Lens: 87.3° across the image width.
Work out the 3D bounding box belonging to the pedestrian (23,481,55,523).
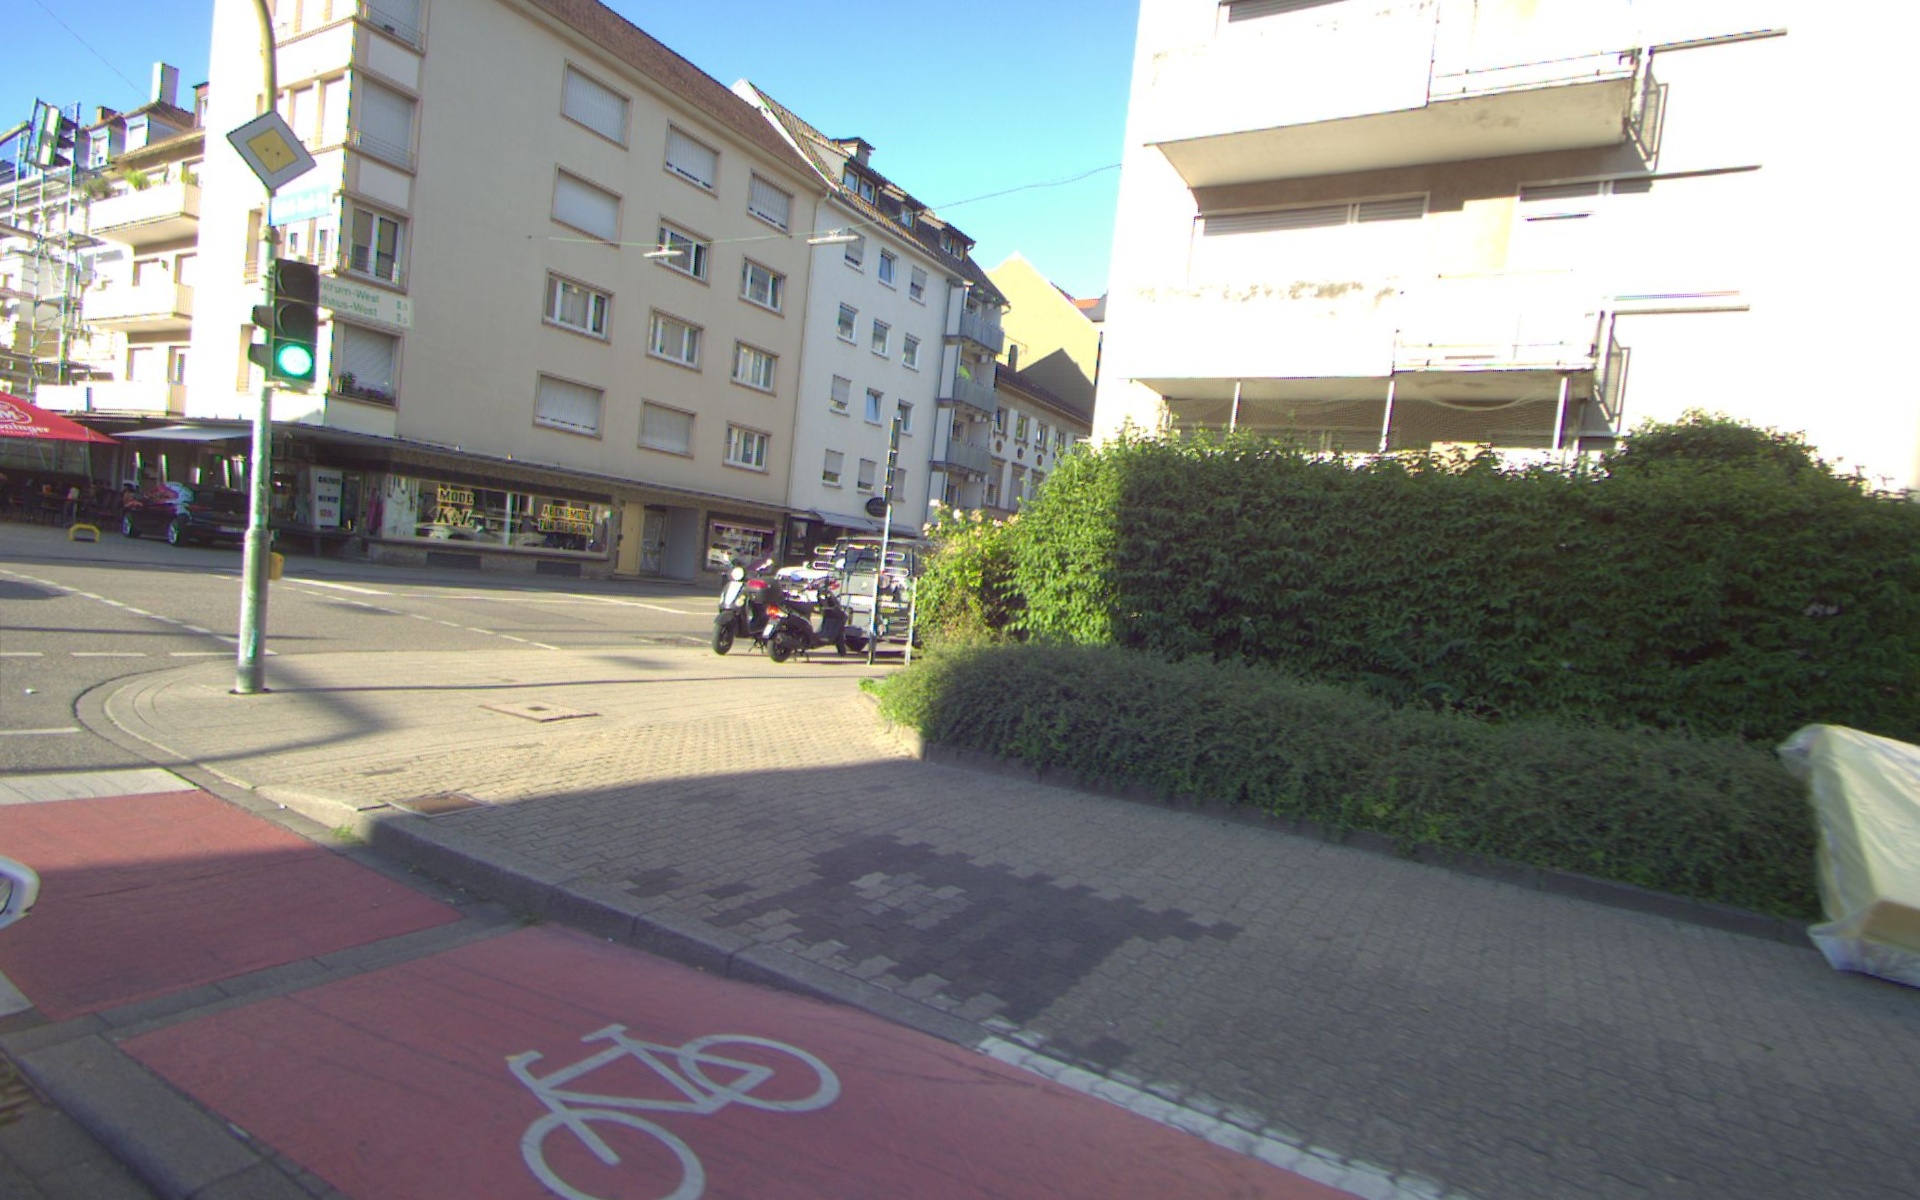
[{"bbox_3d":[-24.943,-2.659,27.245,0.407,1.063,0.523,8,2,37],"label":"pedestrian"}]

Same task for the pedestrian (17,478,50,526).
[{"bbox_3d":[-24.001,-2.535,26.064,0.407,1.165,0.523,8,2,37],"label":"pedestrian"}]

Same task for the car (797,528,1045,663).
[{"bbox_3d":[-0.474,-0.013,17.347,1.919,1.890,4.834,6,1,29],"label":"car"}]

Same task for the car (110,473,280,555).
[{"bbox_3d":[-18.376,-2.068,24.121,4.134,1.504,1.829,7,2,32],"label":"car"}]

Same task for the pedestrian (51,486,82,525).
[{"bbox_3d":[-24.622,-2.599,27.717,0.407,1.003,0.523,8,2,37],"label":"pedestrian"}]

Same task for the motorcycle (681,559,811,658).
[{"bbox_3d":[-2.945,0.129,14.078,0.760,1.216,1.990,7,1,19],"label":"motorcycle"}]

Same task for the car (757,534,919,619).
[{"bbox_3d":[-3.150,-0.565,26.857,1.920,1.862,4.343,7,2,31],"label":"car"}]

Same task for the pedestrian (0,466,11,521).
[{"bbox_3d":[-23.629,-2.630,24.548,0.531,1.299,0.524,7,2,33],"label":"pedestrian"}]

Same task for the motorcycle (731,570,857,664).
[{"bbox_3d":[-2.160,0.250,13.315,0.584,1.126,1.695,7,1,32],"label":"motorcycle"}]

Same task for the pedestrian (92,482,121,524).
[{"bbox_3d":[-25.568,-2.902,30.131,0.407,1.204,0.523,6,1,37],"label":"pedestrian"}]
